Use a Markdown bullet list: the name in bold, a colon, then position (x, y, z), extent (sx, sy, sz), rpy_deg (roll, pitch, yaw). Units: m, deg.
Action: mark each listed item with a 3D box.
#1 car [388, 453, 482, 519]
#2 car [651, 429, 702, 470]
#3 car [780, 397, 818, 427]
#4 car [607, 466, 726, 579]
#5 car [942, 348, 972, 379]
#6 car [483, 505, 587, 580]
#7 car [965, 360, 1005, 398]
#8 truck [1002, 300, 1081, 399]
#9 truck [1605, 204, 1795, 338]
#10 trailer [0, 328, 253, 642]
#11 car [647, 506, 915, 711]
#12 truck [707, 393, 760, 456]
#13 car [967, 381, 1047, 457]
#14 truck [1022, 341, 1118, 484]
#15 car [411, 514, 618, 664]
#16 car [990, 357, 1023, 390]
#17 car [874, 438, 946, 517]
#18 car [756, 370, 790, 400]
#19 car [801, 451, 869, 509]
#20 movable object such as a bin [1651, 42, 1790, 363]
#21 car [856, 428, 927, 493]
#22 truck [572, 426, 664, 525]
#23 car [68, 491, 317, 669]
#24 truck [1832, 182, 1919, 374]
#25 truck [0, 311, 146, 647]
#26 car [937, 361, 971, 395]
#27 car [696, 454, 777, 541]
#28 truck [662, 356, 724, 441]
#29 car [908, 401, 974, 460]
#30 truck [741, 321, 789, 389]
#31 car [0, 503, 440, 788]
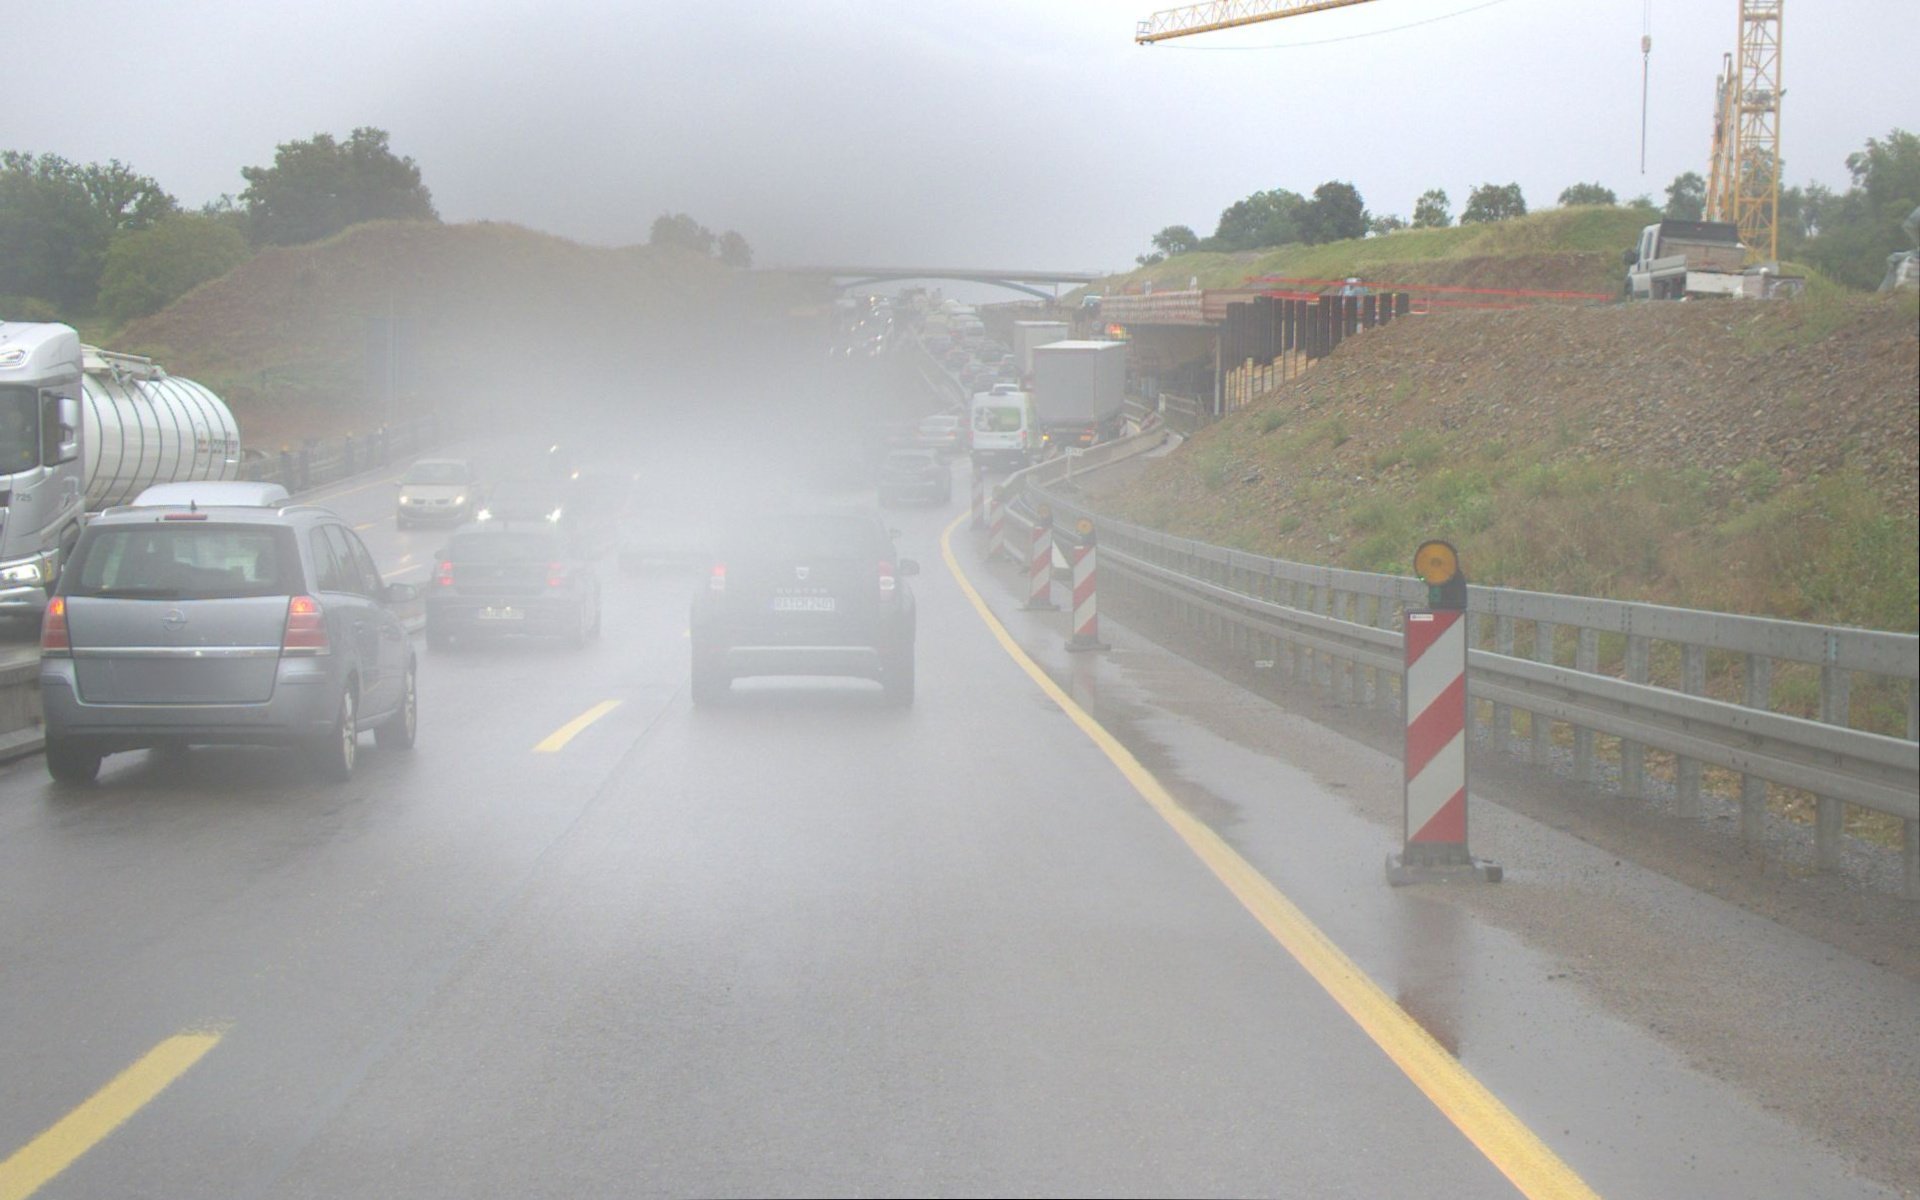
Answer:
- **car**: position (-12.709, -2.784, 83.407), extent (1.787, 1.541, 4.001), rpy_deg (0, 2, -2)
- **car**: position (-10.577, -5.627, 128.448), extent (1.676, 1.518, 4.346), rpy_deg (0, 3, -2)
- **car**: position (-8.031, -9.399, 171.886), extent (1.868, 1.466, 4.672), rpy_deg (0, 3, -2)
- **car**: position (-5.386, -1.428, 63.430), extent (1.993, 2.007, 3.894), rpy_deg (0, 1, -2)
- **car**: position (-0.243, -17.007, 247.532), extent (1.993, 2.007, 4.001), rpy_deg (0, 1, -2)
- **car**: position (-8.984, -1.250, 72.926), extent (1.772, 1.499, 4.680), rpy_deg (0, 2, -2)
- **car**: position (1.357, -12.057, 187.391), extent (1.993, 2.006, 4.001), rpy_deg (0, 3, -2)
- **truck**: position (4.619, -14.386, 198.508), extent (3.803, 5.025, 12.923), rpy_deg (0, 1, -2)
- **truck**: position (17.035, -7.543, 79.541), extent (2.645, 2.546, 6.985), rpy_deg (0, 1, -2)
- **trailer**: position (-11.853, -1.503, 46.260), extent (2.620, 3.665, 12.006), rpy_deg (0, 1, -2)
- **car**: position (-1.427, 0.023, 28.928), extent (2.081, 1.595, 4.141), rpy_deg (0, 1, -1)
- **truck**: position (-9.929, -7.716, 151.309), extent (2.147, 2.704, 6.017), rpy_deg (0, 3, -2)
- **car**: position (1.652, -6.261, 119.463), extent (1.994, 2.475, 4.980), rpy_deg (0, 1, 10)
- **truck**: position (4.480, -7.409, 137.592), extent (3.102, 5.407, 9.441), rpy_deg (0, 1, 6)
- **car**: position (-4.967, -0.162, 38.824), extent (1.993, 1.595, 4.141), rpy_deg (0, 1, -3)
- **car**: position (3.127, -15.300, 232.593), extent (1.993, 2.007, 4.001), rpy_deg (0, 1, -2)
- **car**: position (-1.399, -3.449, 97.414), extent (1.993, 2.155, 4.141), rpy_deg (0, 1, 0)
- **car**: position (-10.875, -12.531, 200.065), extent (1.737, 1.678, 5.553), rpy_deg (1, 4, -1)
- **car**: position (-3.889, -3.731, 107.336), extent (1.993, 1.755, 3.815), rpy_deg (0, 1, 0)
- **movable object such as a bin**: position (28.117, -14.391, 126.871), extent (4.721, 10.804, 10.298), rpy_deg (1, 1, 13)
- **car**: position (-2.359, -4.828, 119.413), extent (1.994, 2.155, 4.140), rpy_deg (0, 1, 5)
- **truck**: position (-9.236, -3.333, 93.239), extent (2.078, 2.567, 5.963), rpy_deg (0, 1, -2)
- **car**: position (-8.155, -0.253, 36.889), extent (1.865, 1.794, 4.163), rpy_deg (0, 1, -2)
- **truck**: position (17.332, -5.392, 57.152), extent (3.395, 2.865, 8.960), rpy_deg (0, 1, 0)
- **truck**: position (-11.637, -1.411, 40.799), extent (2.620, 3.665, 6.596), rpy_deg (0, 1, -2)
- **car**: position (-0.373, -13.502, 209.387), extent (1.993, 2.006, 4.001), rpy_deg (0, 3, -2)
- **car**: position (-5.730, -2.600, 87.844), extent (1.993, 2.155, 4.141), rpy_deg (0, 1, -4)
- **truck**: position (-12.784, -9.697, 165.205), extent (2.641, 3.956, 9.216), rpy_deg (0, 4, -2)
- **car**: position (-0.717, -6.530, 132.708), extent (1.994, 2.155, 4.139), rpy_deg (0, 1, 7)
- **truck**: position (-14.598, -18.317, 257.836), extent (3.083, 4.902, 8.566), rpy_deg (1, 3, 0)
- **car**: position (-4.529, 0.209, 21.425), extent (1.993, 1.595, 4.141), rpy_deg (0, 1, -1)
